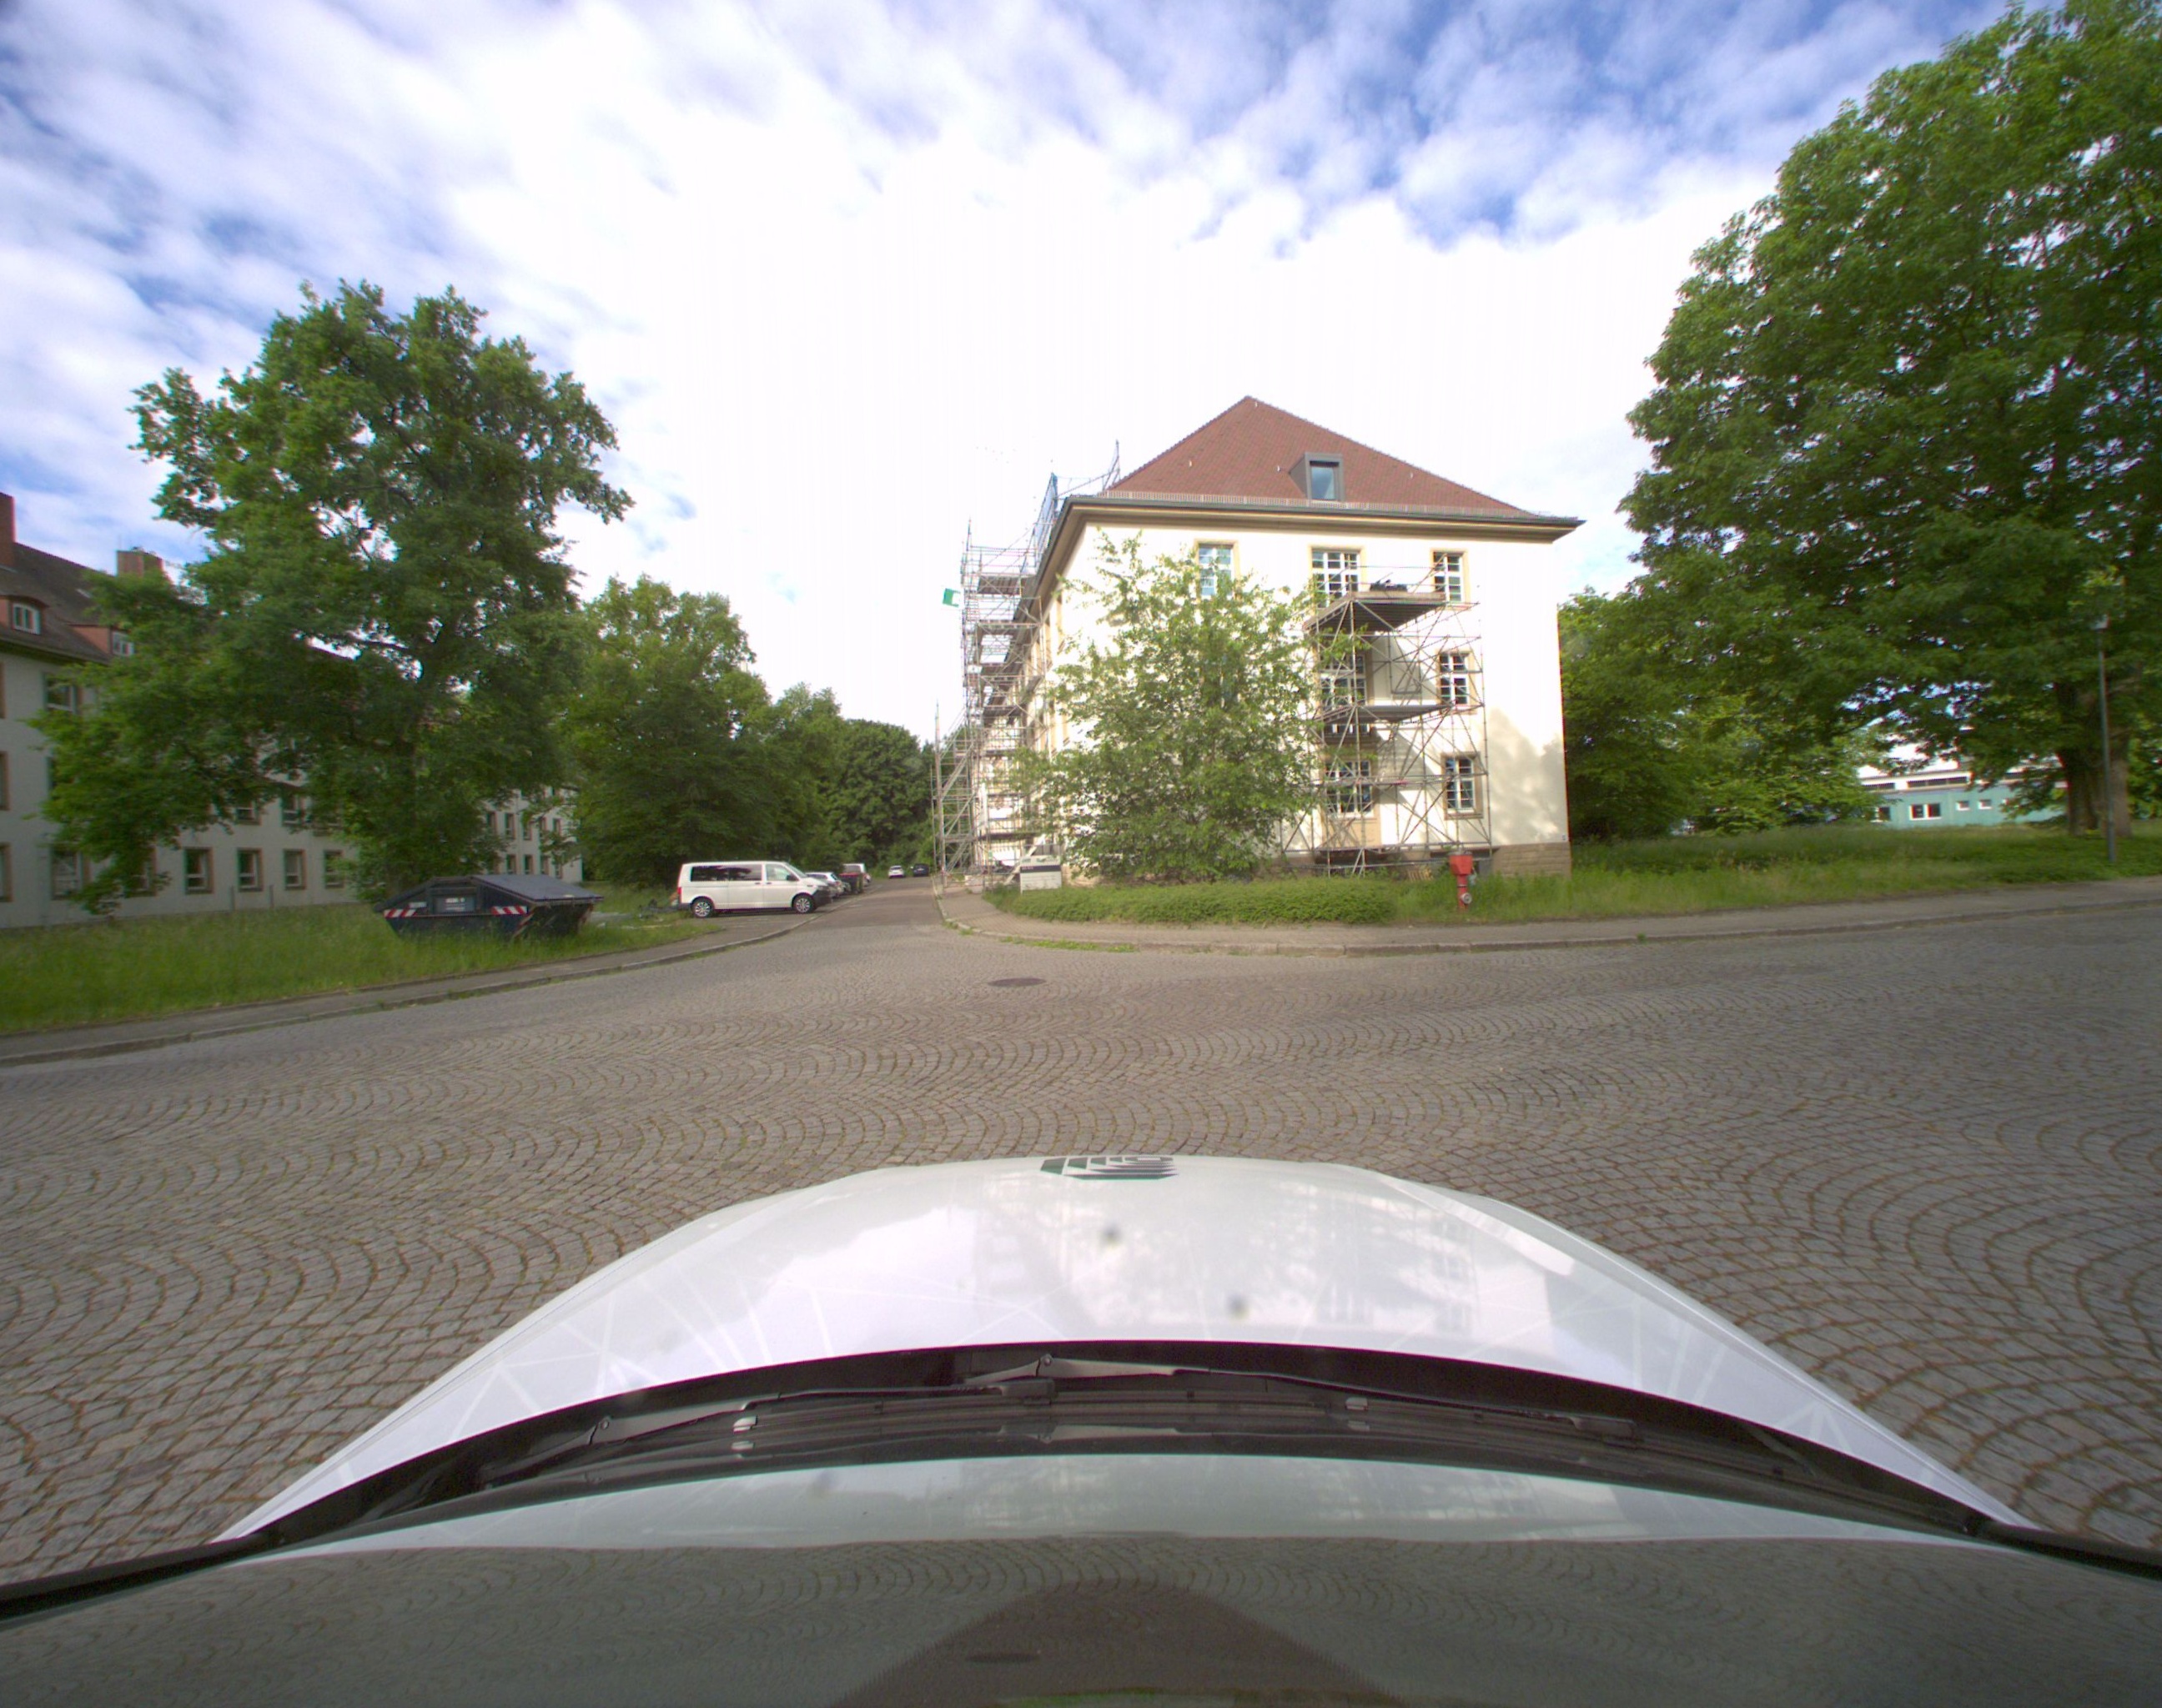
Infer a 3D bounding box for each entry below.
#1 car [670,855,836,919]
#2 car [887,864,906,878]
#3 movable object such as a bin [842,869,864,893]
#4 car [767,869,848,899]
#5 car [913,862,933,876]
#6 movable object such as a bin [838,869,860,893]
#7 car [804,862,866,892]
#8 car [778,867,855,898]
[{"bbox_3d":[-11.795,1.161,29.690,5.205,2.060,2.179,-2,-1,-12],"label":"car"},{"bbox_3d":[-21.479,1.987,94.709,2.004,1.548,3.939,0,-1,-14],"label":"car"},{"bbox_3d":[-13.778,1.617,49.280,1.184,1.407,0.972,0,-2,-10],"label":"movable object such as a bin"},{"bbox_3d":[-14.088,1.537,42.120,3.620,1.481,1.819,-1,-1,-3],"label":"car"},{"bbox_3d":[-18.580,1.735,95.695,2.062,1.593,3.988,0,-1,-8],"label":"car"},{"bbox_3d":[-13.709,1.603,48.129,1.184,1.407,0.972,0,-2,-10],"label":"movable object such as a bin"},{"bbox_3d":[-17.009,1.589,56.454,3.994,2.014,1.911,0,-2,-15],"label":"car"},{"bbox_3d":[-14.331,1.534,44.265,3.674,1.592,1.761,-1,-2,-5],"label":"car"}]
